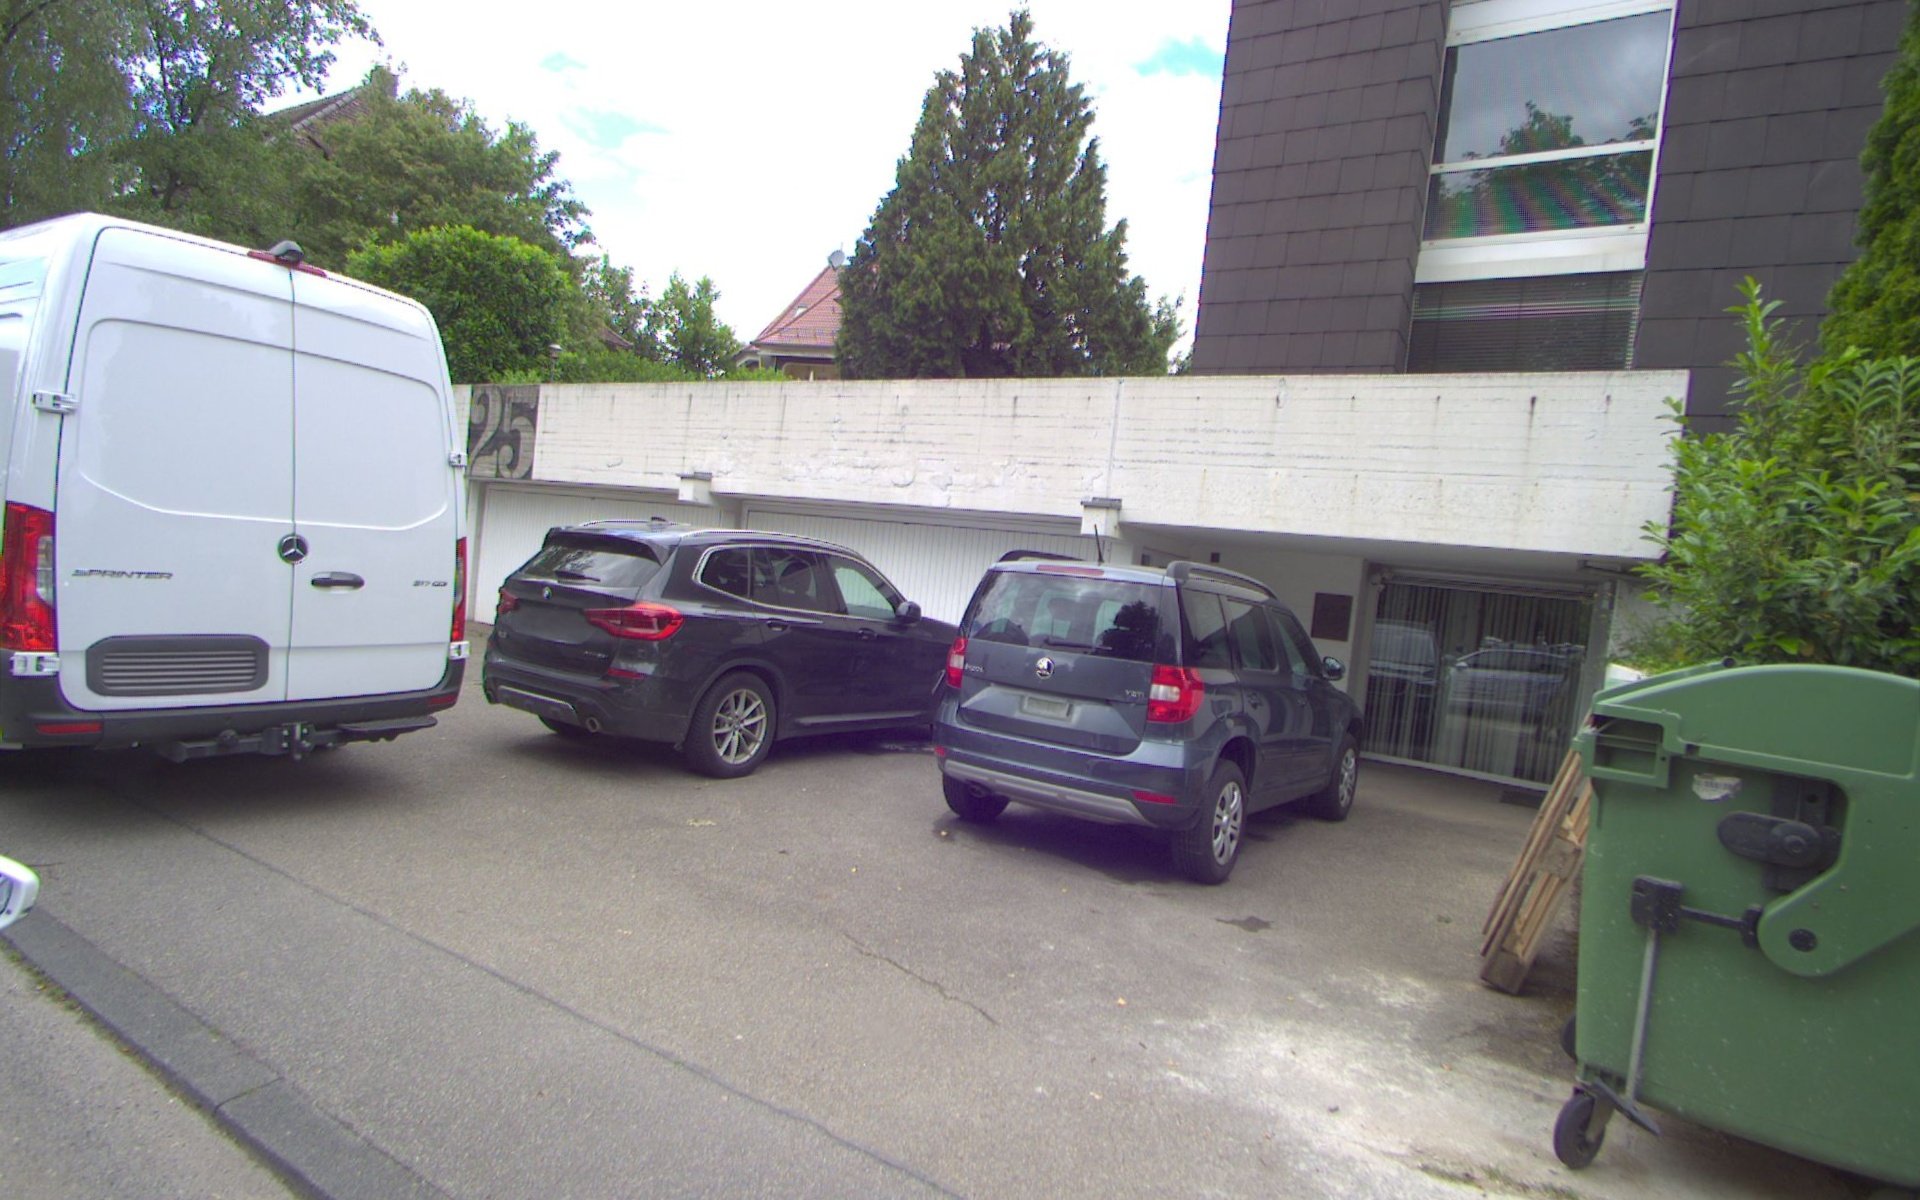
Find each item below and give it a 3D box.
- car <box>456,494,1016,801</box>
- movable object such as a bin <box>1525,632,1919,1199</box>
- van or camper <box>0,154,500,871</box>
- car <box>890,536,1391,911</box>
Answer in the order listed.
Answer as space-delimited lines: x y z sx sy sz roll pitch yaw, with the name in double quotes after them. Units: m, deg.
-1.405 0.319 8.034 1.668 1.696 4.383 6 1 32 "car"
2.408 0.902 2.974 1.098 1.469 1.405 6 1 32 "movable object such as a bin"
-5.773 -0.582 6.277 6.436 2.662 1.990 6 4 32 "van or camper"
1.485 0.640 6.794 1.717 1.673 3.899 6 1 35 "car"
